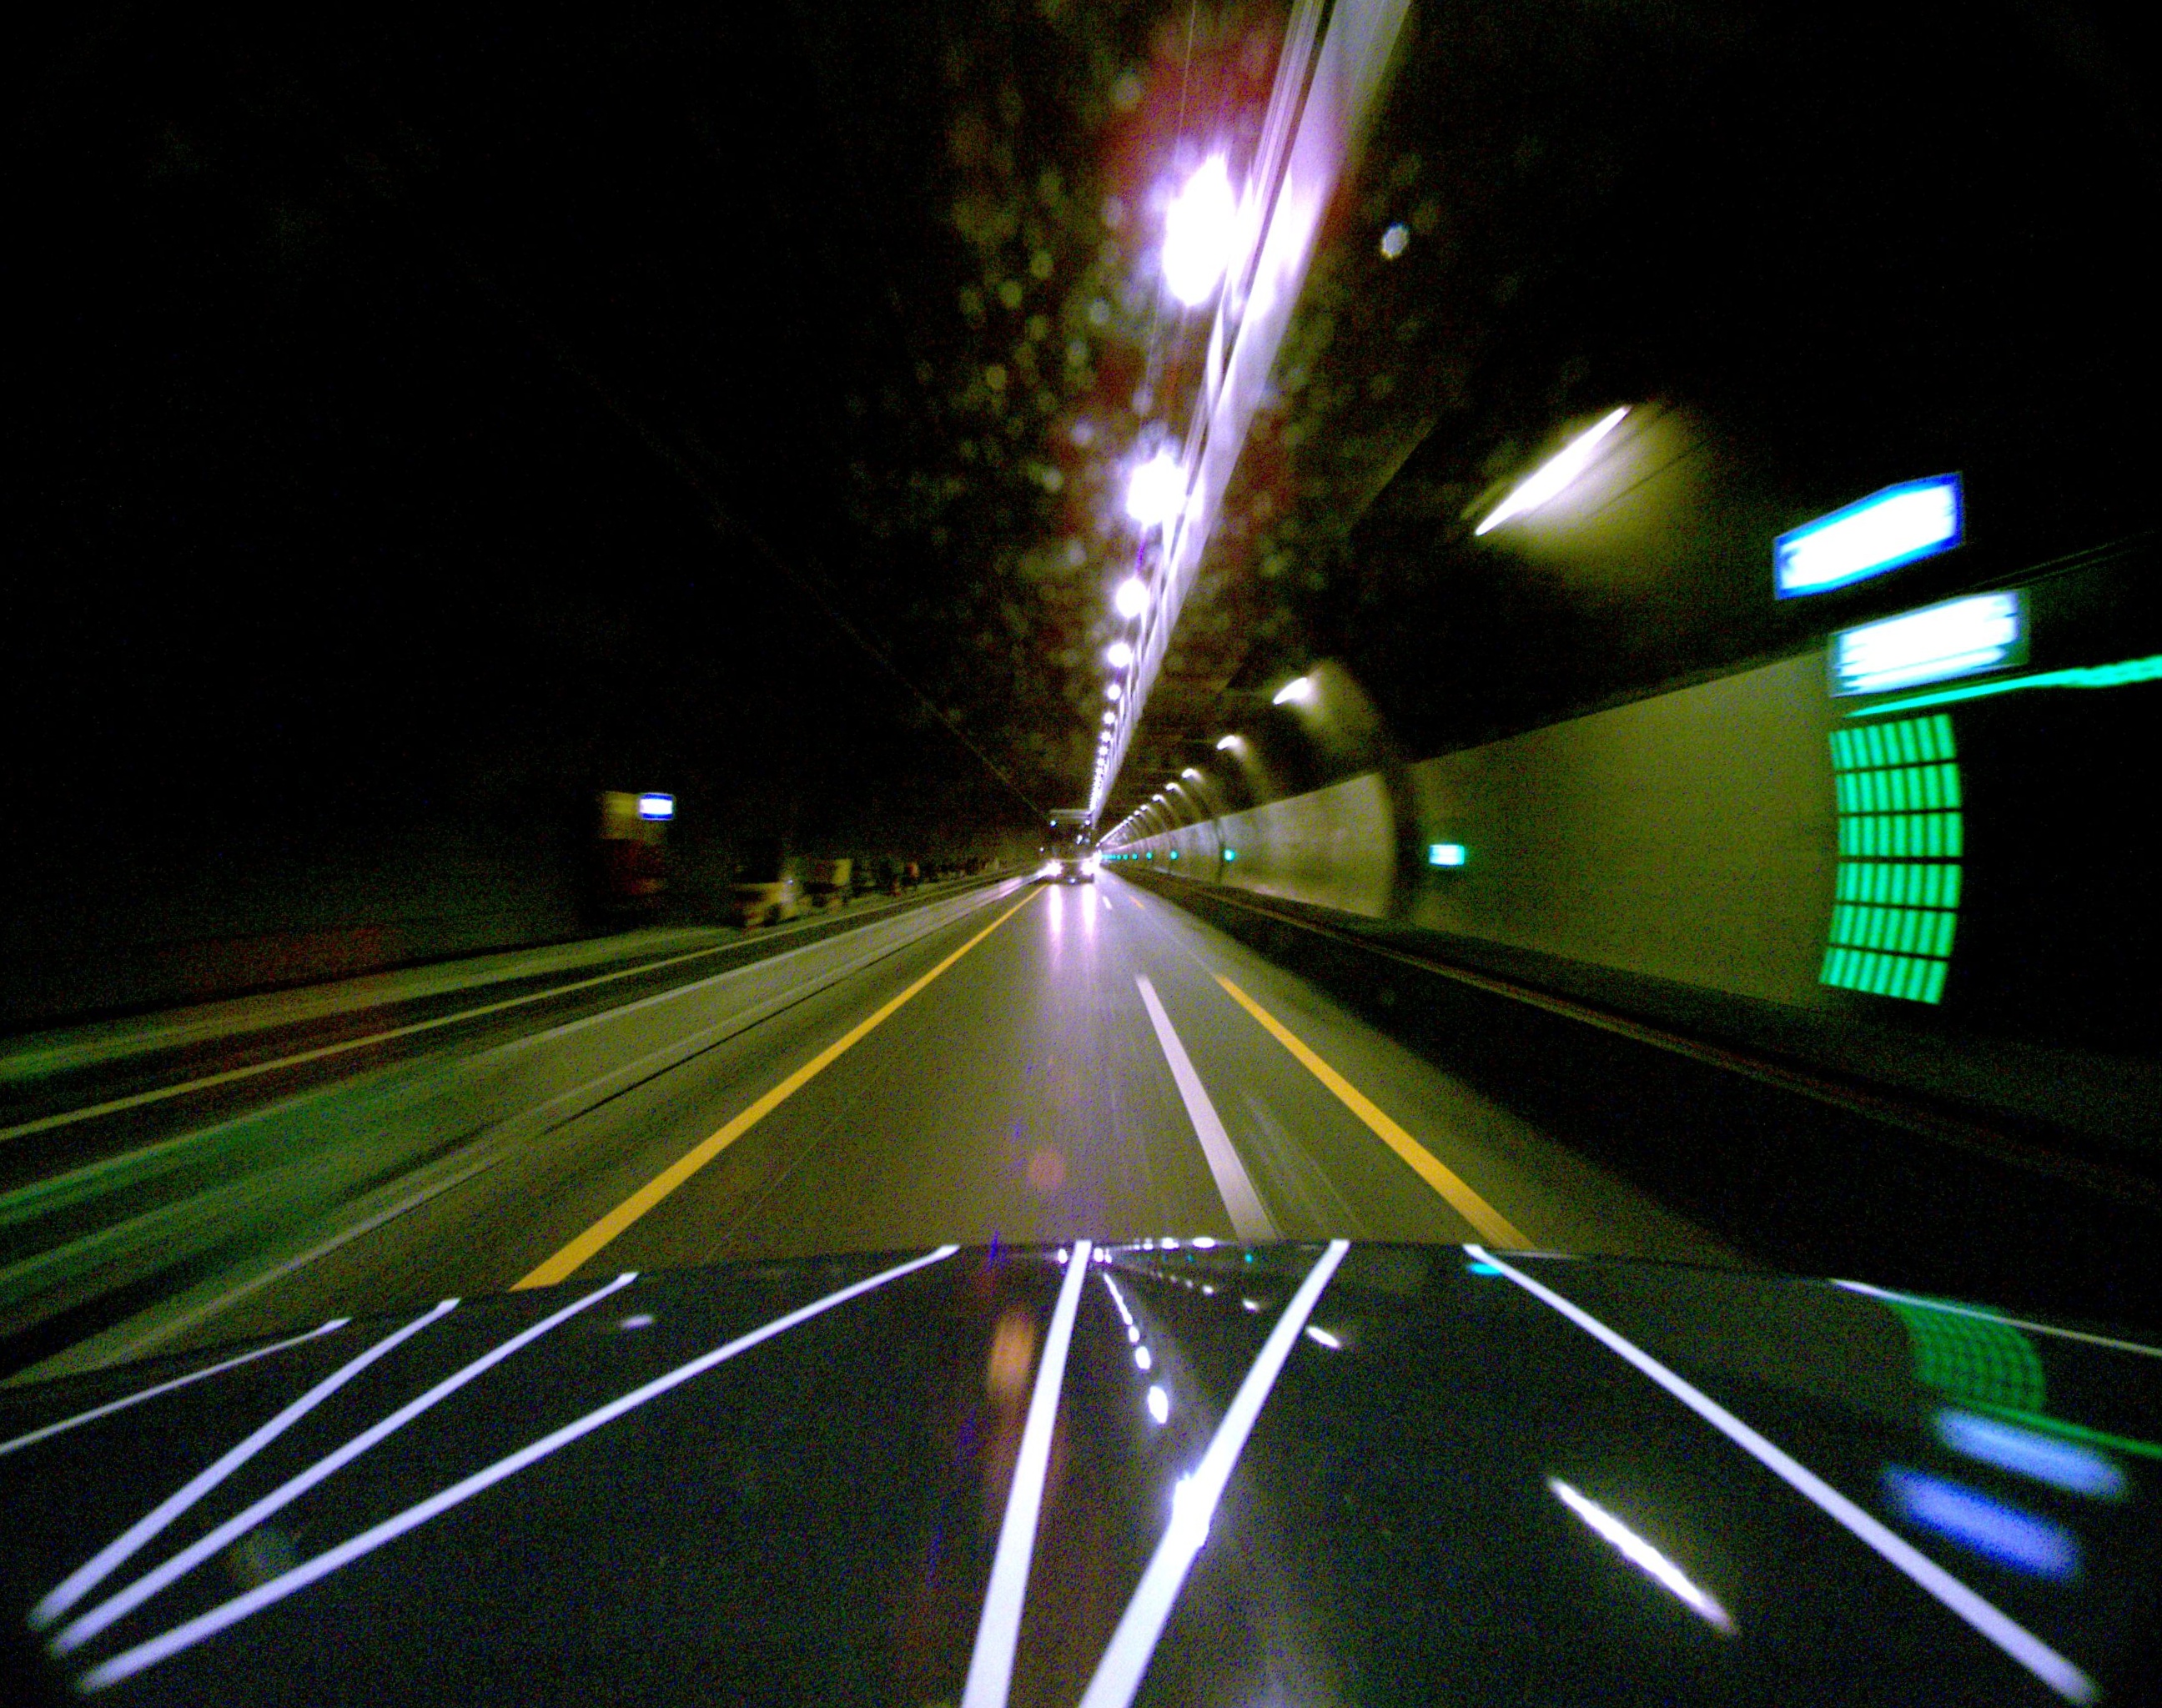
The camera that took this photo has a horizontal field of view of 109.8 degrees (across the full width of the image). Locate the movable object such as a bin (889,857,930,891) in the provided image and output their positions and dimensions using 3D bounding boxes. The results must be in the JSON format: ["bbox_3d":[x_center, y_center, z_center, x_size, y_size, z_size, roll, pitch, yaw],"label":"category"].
[{"bbox_3d":[-8.519,0.953,37.907,1.306,1.584,3.055,2,0,0],"label":"movable object such as a bin"}]

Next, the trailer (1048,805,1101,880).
[{"bbox_3d":[-0.327,-0.717,49.673,2.939,4.316,10.051,-2,1,1],"label":"trailer"}]

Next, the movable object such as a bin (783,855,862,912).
[{"bbox_3d":[-8.610,0.943,25.556,1.560,1.699,3.054,-2,1,0],"label":"movable object such as a bin"}]

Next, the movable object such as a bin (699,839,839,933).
[{"bbox_3d":[-8.038,0.726,20.075,1.688,2.133,4.627,-2,1,0],"label":"movable object such as a bin"}]

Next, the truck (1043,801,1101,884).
[{"bbox_3d":[-0.429,-0.660,44.190,2.951,4.338,6.675,-2,1,1],"label":"truck"}]

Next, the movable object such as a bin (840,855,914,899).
[{"bbox_3d":[-8.548,0.910,32.289,1.865,1.665,4.501,2,0,0],"label":"movable object such as a bin"}]
